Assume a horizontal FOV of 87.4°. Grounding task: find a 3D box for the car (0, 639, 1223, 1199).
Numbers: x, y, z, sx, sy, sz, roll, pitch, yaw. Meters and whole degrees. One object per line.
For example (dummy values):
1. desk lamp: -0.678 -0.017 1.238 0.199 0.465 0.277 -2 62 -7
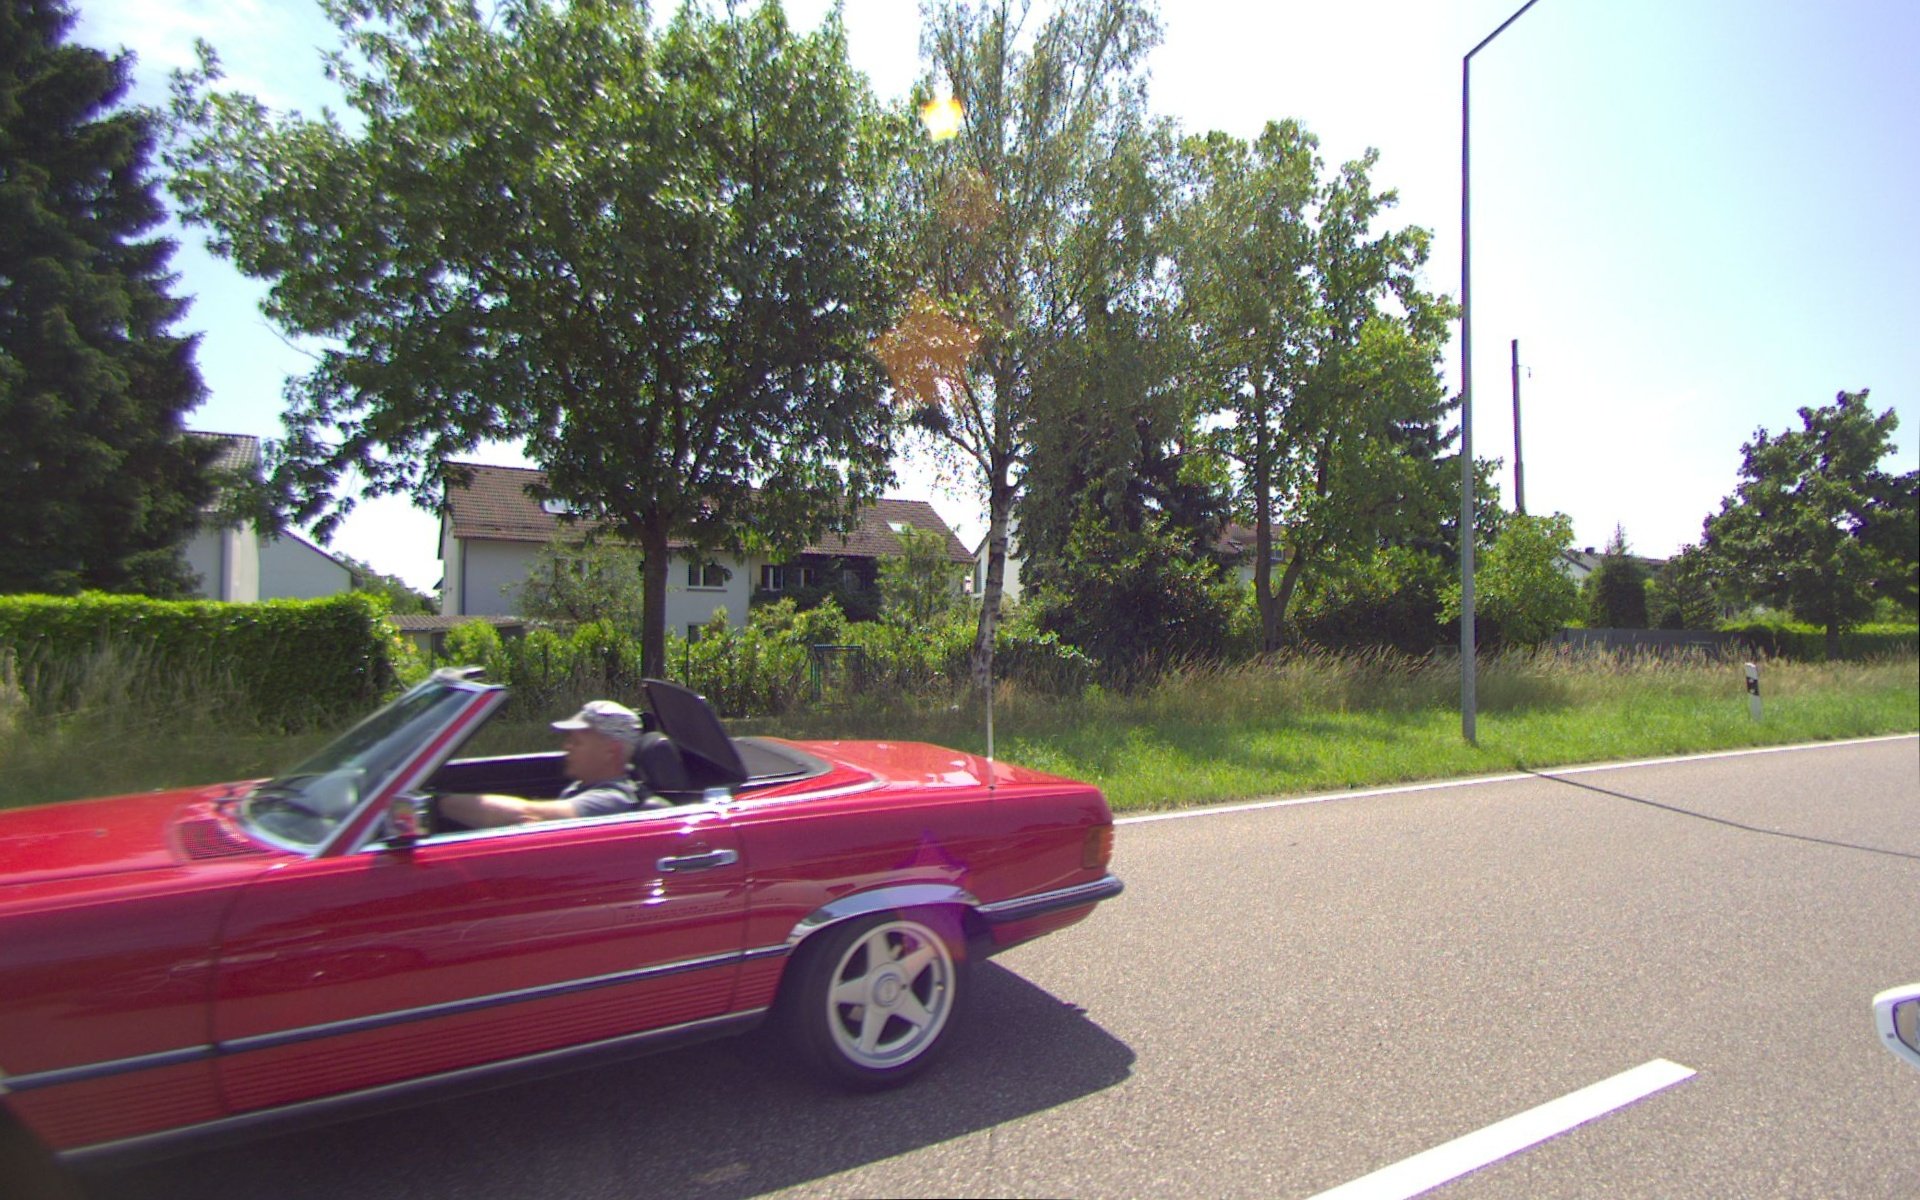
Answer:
1. car: -1.268 0.828 3.409 4.204 1.318 1.741 2 -2 -30
